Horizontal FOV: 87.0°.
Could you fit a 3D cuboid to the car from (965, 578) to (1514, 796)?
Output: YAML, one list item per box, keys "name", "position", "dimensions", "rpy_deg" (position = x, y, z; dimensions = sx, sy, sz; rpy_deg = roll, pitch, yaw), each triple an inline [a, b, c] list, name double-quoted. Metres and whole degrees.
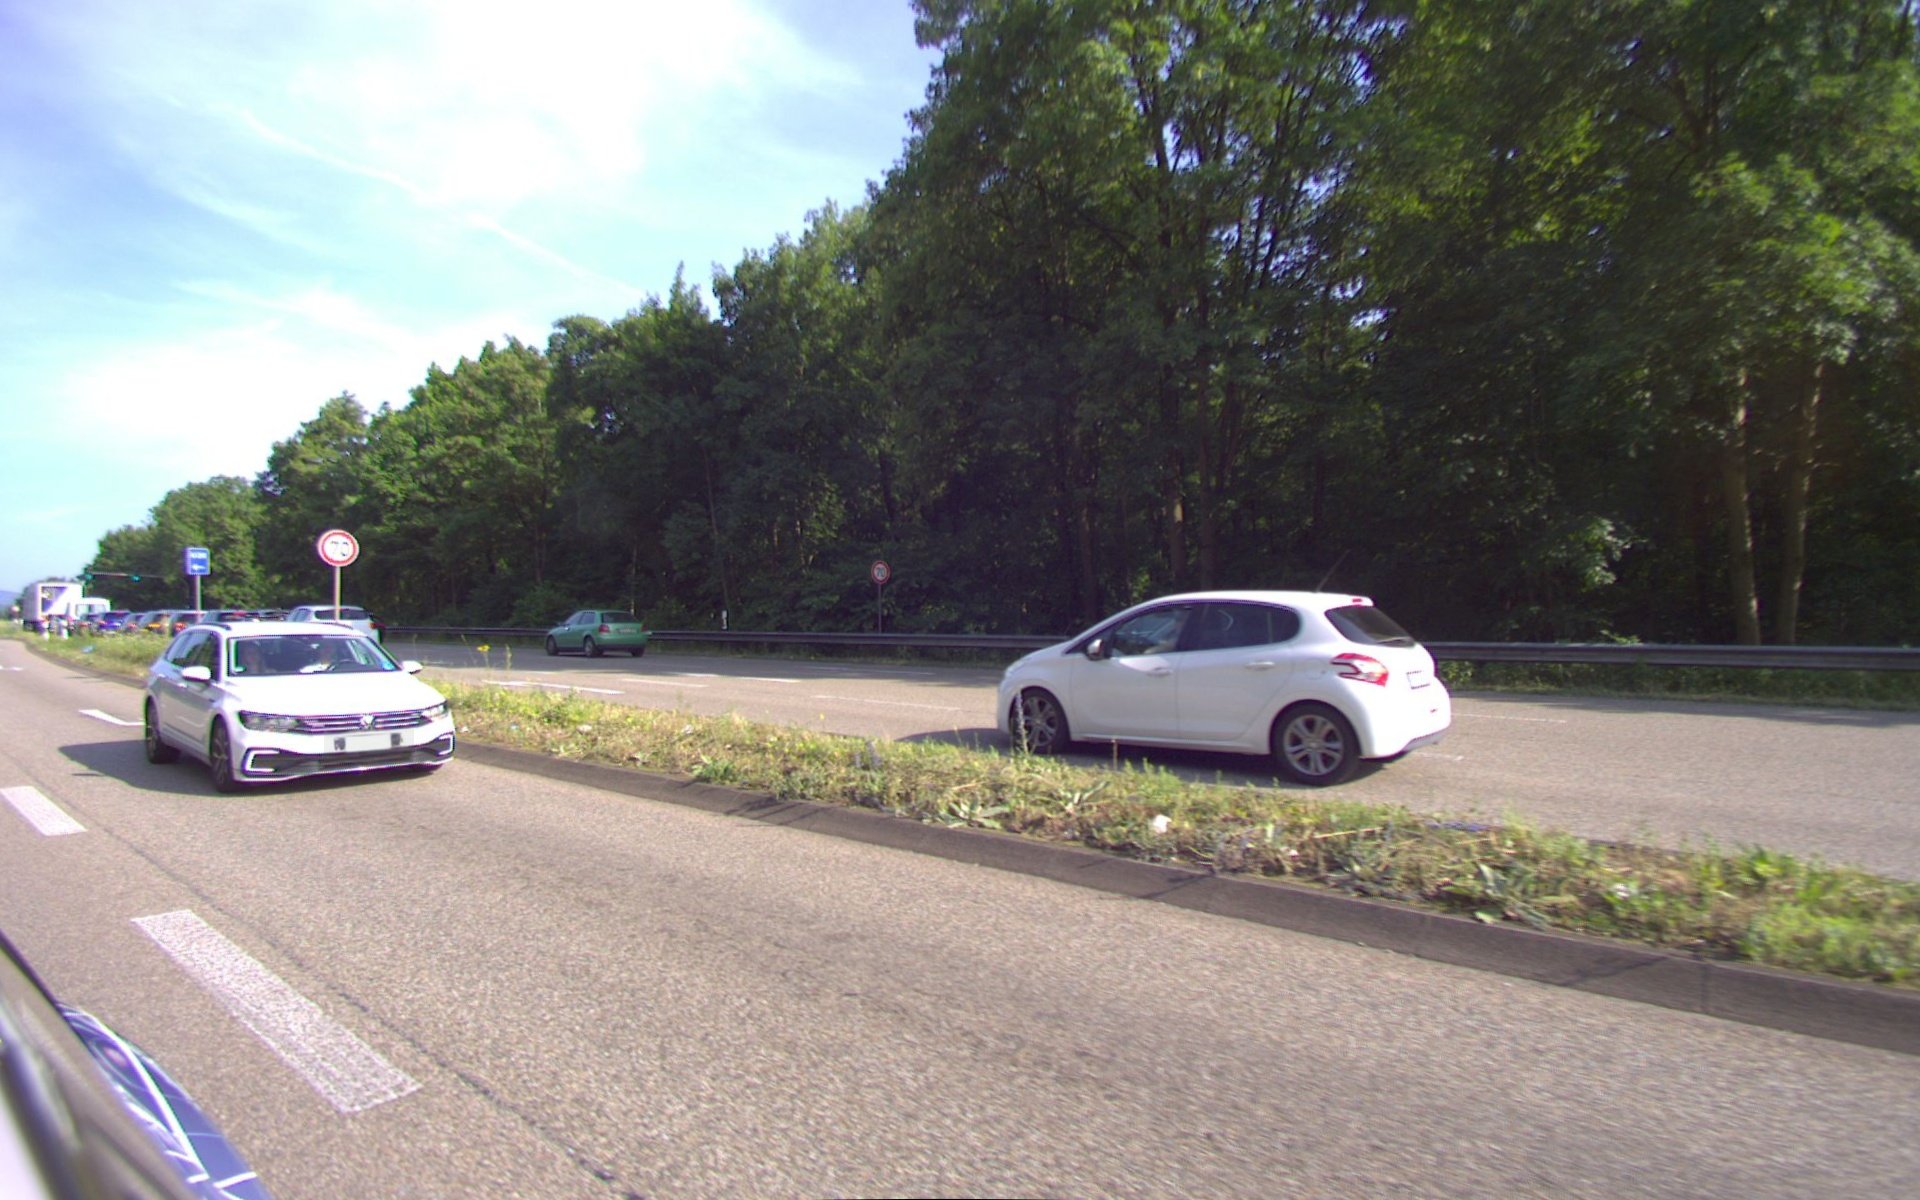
- name: "car"
  position: [2.231, 0.615, 8.789]
  dimensions: [4.225, 1.422, 1.769]
  rpy_deg: [-2, 1, 41]

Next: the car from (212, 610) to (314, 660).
- name: "car"
  position: [-21.322, 1.046, 30.907]
  dimensions: [4.435, 1.428, 1.747]
  rpy_deg: [-2, -2, 44]

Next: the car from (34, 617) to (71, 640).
- name: "car"
  position: [-67.689, 2.108, 75.480]
  dimensions: [4.370, 1.644, 1.681]
  rpy_deg: [-2, -2, 43]

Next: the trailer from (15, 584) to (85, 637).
- name: "trailer"
  position: [-75.050, 0.938, 83.317]
  dimensions: [14.014, 4.026, 2.959]
  rpy_deg: [-2, 1, 43]

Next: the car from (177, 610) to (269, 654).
- name: "car"
  position: [-25.718, 1.114, 35.231]
  dimensions: [5.195, 1.434, 1.747]
  rpy_deg: [-2, -2, 44]

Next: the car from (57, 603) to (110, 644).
- name: "car"
  position: [-56.687, 1.532, 65.403]
  dimensions: [6.165, 2.553, 2.052]
  rpy_deg: [-2, -2, 44]

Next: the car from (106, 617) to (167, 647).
- name: "car"
  position: [-40.073, 1.541, 49.211]
  dimensions: [4.845, 1.390, 1.751]
  rpy_deg: [-2, -2, 44]

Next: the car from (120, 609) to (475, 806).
- name: "car"
  position: [-6.863, 0.928, 10.239]
  dimensions: [4.833, 1.533, 1.850]
  rpy_deg: [-2, -3, 43]

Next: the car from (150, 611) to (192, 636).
- name: "car"
  position: [-64.914, 1.961, 83.203]
  dimensions: [5.103, 1.950, 1.989]
  rpy_deg: [-2, -4, 44]

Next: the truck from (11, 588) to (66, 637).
- name: "truck"
  position: [-80.371, 1.105, 88.262]
  dimensions: [6.721, 4.027, 2.860]
  rpy_deg: [-2, 1, 43]

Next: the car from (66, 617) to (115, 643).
- name: "car"
  position: [-50.948, 1.743, 59.281]
  dimensions: [5.187, 1.467, 1.740]
  rpy_deg: [-2, -2, 44]

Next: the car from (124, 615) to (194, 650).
- name: "car"
  position: [-34.913, 1.413, 44.069]
  dimensions: [5.194, 1.434, 1.751]
  rpy_deg: [-2, -2, 44]

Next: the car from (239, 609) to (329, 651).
- name: "car"
  position: [-29.882, 1.327, 44.640]
  dimensions: [6.227, 1.721, 2.079]
  rpy_deg: [-2, -2, 44]

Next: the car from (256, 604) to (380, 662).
- name: "car"
  position: [-17.249, 0.881, 27.103]
  dimensions: [4.417, 1.428, 1.847]
  rpy_deg: [-2, -2, 44]

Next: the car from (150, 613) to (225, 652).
- name: "car"
  position: [-29.920, 1.250, 39.161]
  dimensions: [4.213, 1.434, 1.687]
  rpy_deg: [-2, -2, 44]

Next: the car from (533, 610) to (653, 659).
- name: "car"
  position: [-11.253, 1.049, 30.837]
  dimensions: [4.376, 1.389, 1.719]
  rpy_deg: [-2, -2, 44]

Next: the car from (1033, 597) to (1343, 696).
- name: "car"
  position: [3.645, 0.720, 16.791]
  dimensions: [4.752, 1.417, 1.769]
  rpy_deg: [-2, -1, 41]

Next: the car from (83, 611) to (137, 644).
- name: "car"
  position: [-45.957, 1.492, 54.665]
  dimensions: [4.802, 1.682, 1.751]
  rpy_deg: [-2, -2, 44]
